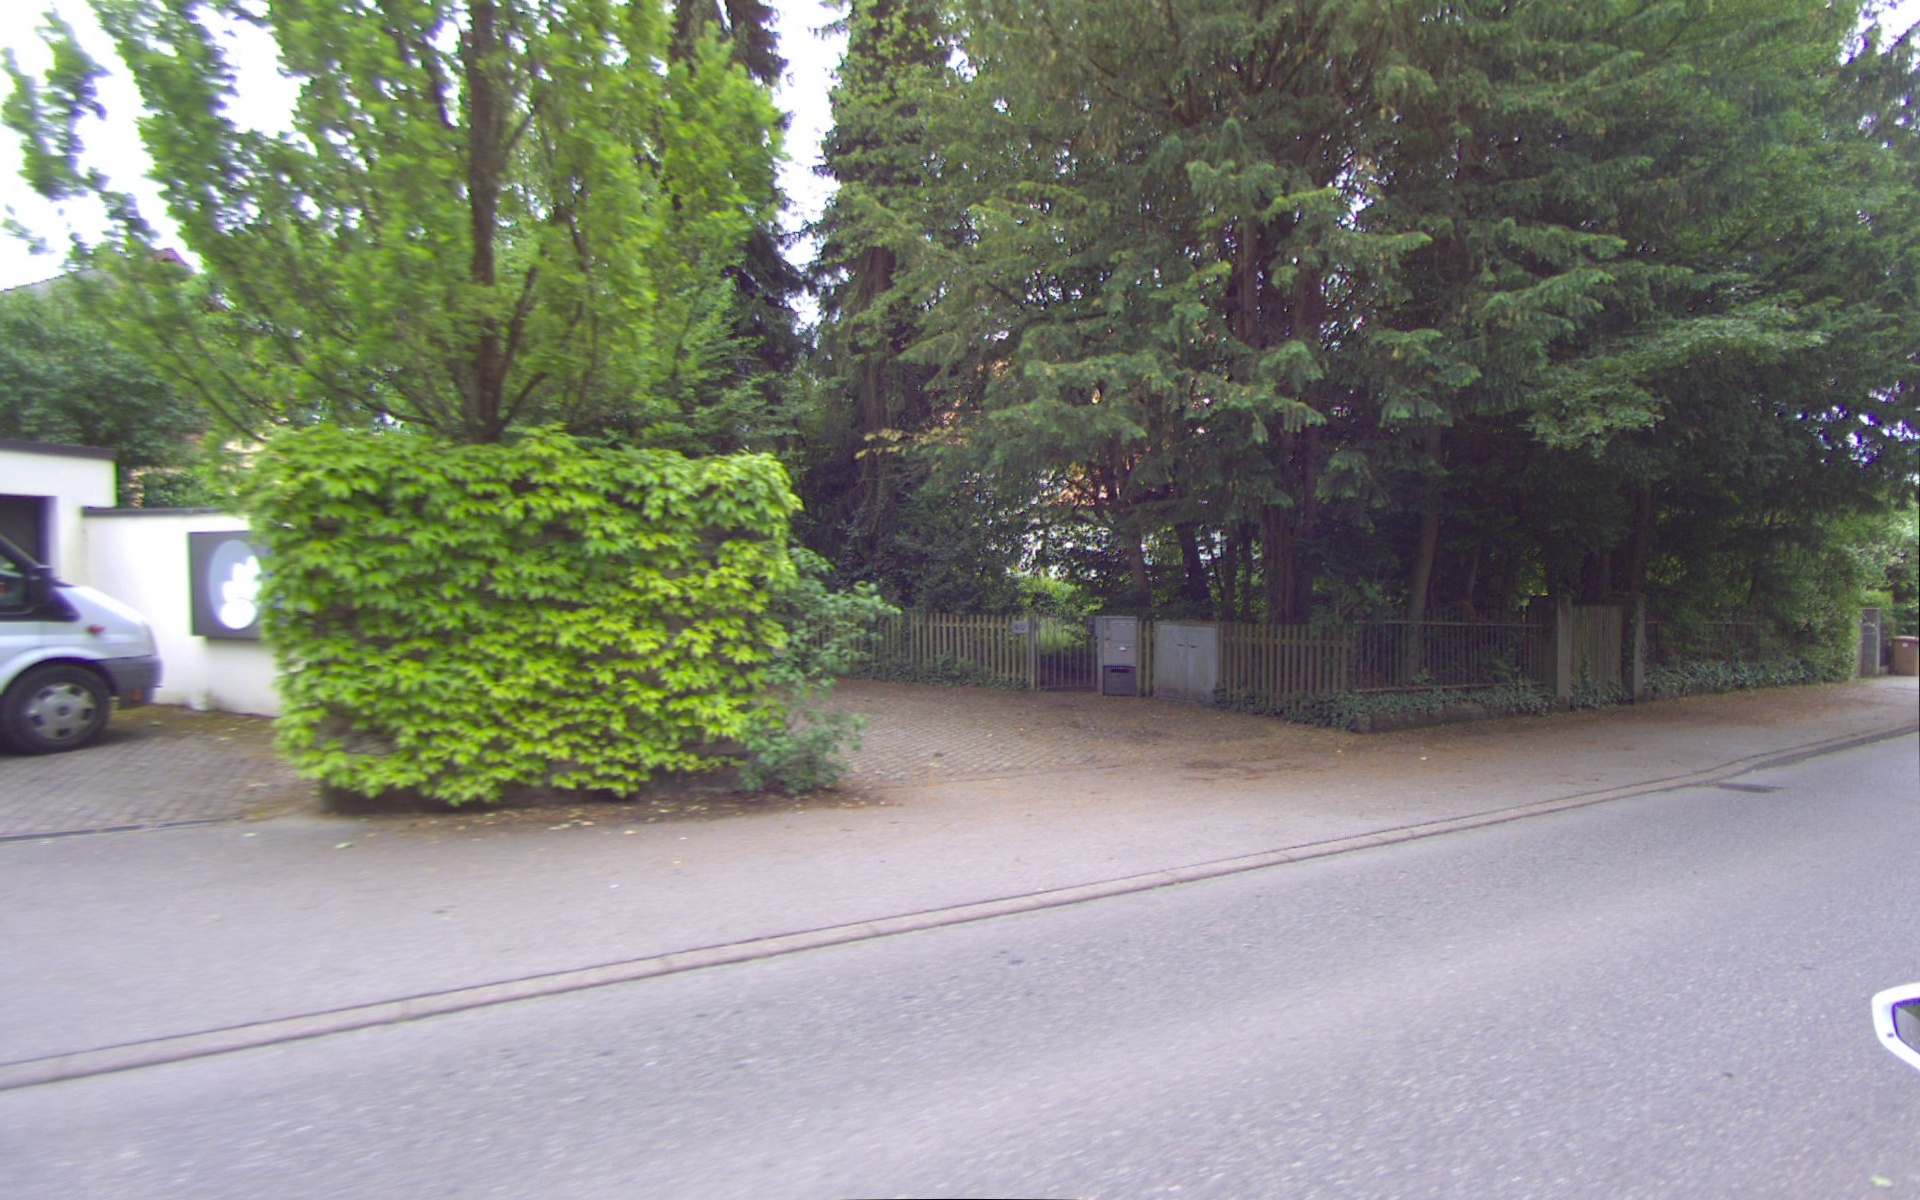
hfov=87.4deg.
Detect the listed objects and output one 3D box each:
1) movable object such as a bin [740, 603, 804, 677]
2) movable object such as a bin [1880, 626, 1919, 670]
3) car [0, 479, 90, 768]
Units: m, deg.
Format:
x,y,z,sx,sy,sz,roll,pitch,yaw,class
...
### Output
x,y,z,sx,sy,sz,roll,pitch,yaw,class
-3.113,0.646,16.583,0.702,1.157,0.807,1,2,-41,movable object such as a bin
26.037,1.321,27.812,0.641,1.157,0.734,1,2,-41,movable object such as a bin
-9.000,0.149,5.932,2.381,2.101,5.355,2,1,27,car
